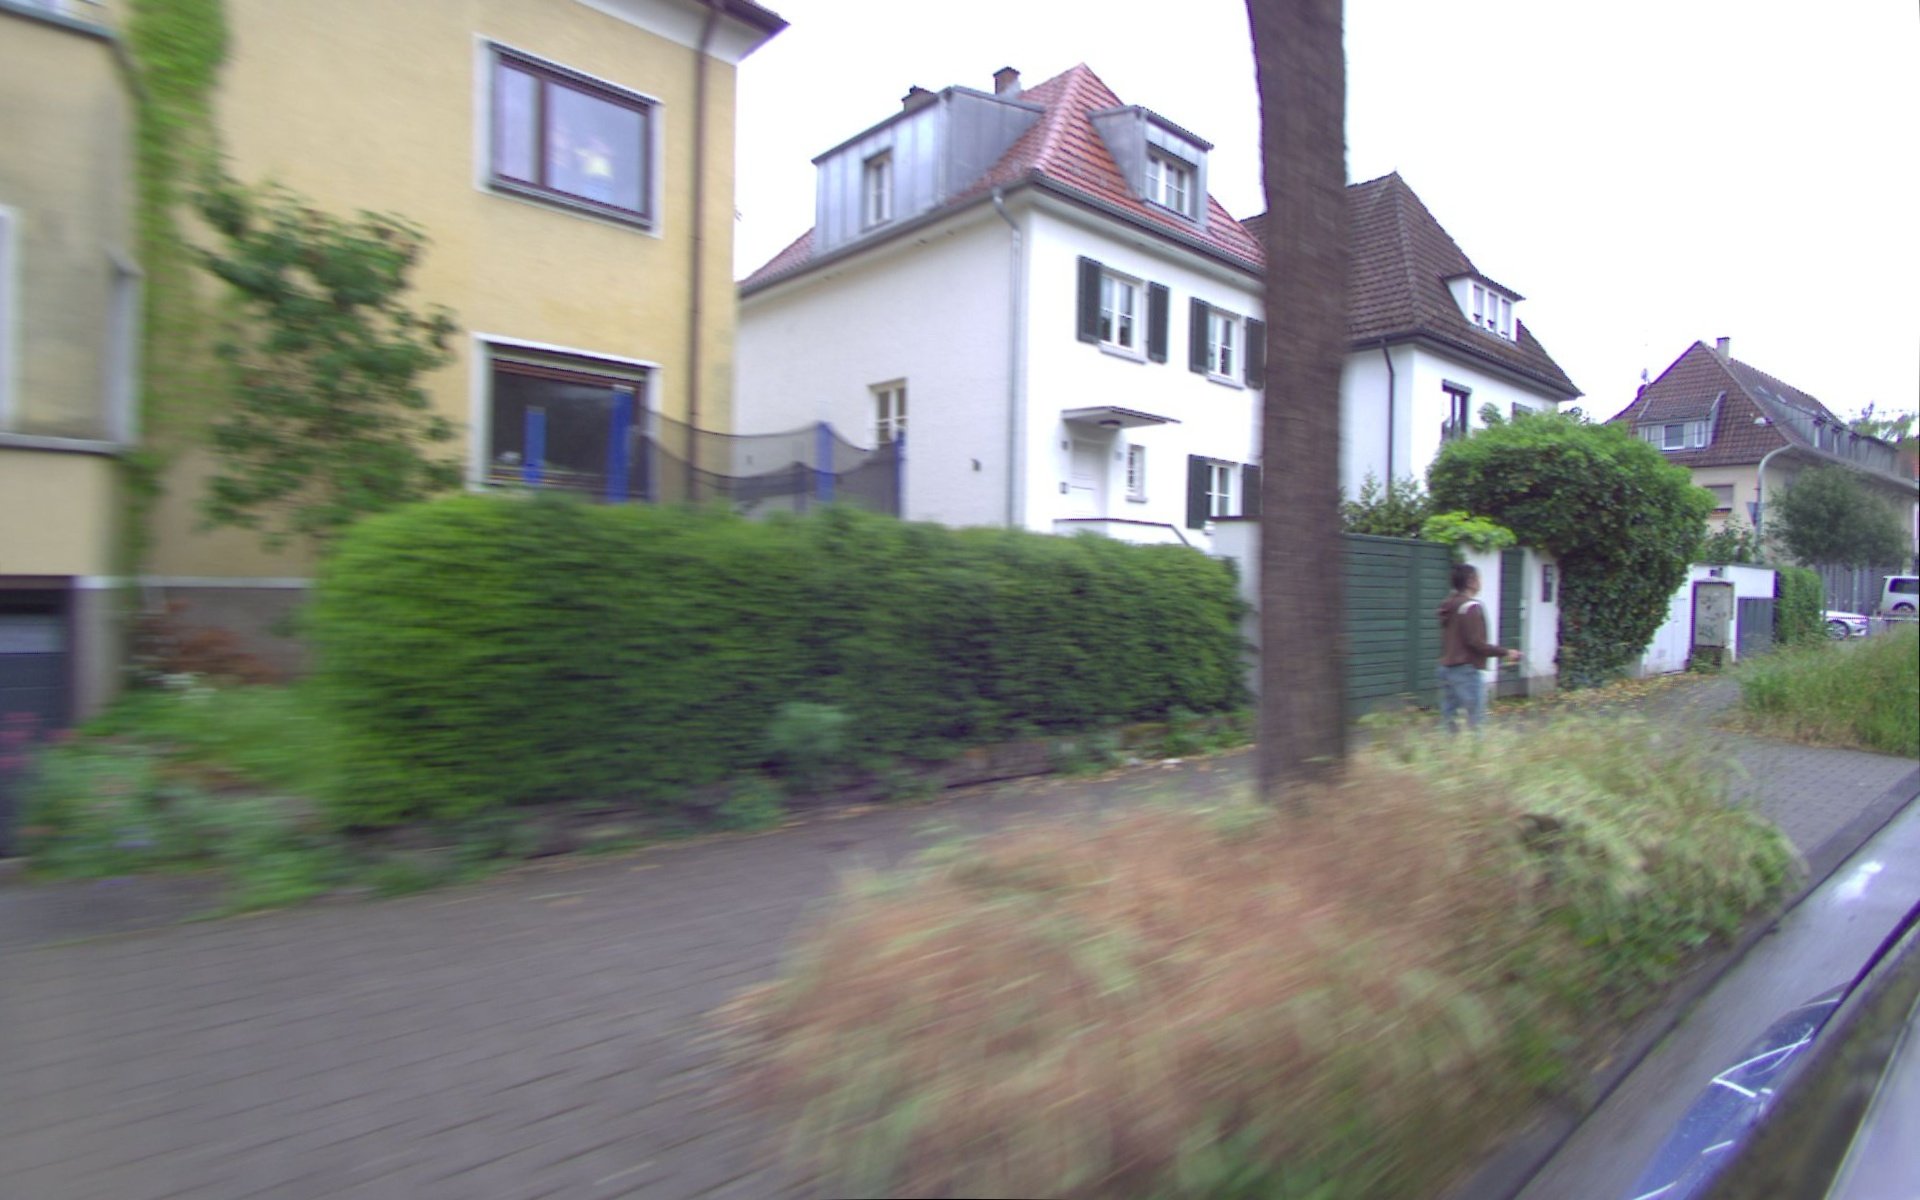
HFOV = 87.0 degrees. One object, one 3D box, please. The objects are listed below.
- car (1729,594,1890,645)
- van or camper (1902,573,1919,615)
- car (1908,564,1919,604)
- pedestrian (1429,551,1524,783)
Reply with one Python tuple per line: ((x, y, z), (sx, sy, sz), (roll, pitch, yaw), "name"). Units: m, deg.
((29.088, 0.601, 34.730), (1.966, 1.549, 3.992), (0, 2, -42), "car")
((48.473, -0.274, 48.072), (1.962, 2.038, 5.183), (-1, 2, -34), "van or camper")
((50.683, -0.801, 50.112), (1.962, 2.038, 5.183), (-1, 2, -34), "car")
((3.635, 0.447, 7.121), (0.432, 1.553, 0.482), (0, 0, -43), "pedestrian")
